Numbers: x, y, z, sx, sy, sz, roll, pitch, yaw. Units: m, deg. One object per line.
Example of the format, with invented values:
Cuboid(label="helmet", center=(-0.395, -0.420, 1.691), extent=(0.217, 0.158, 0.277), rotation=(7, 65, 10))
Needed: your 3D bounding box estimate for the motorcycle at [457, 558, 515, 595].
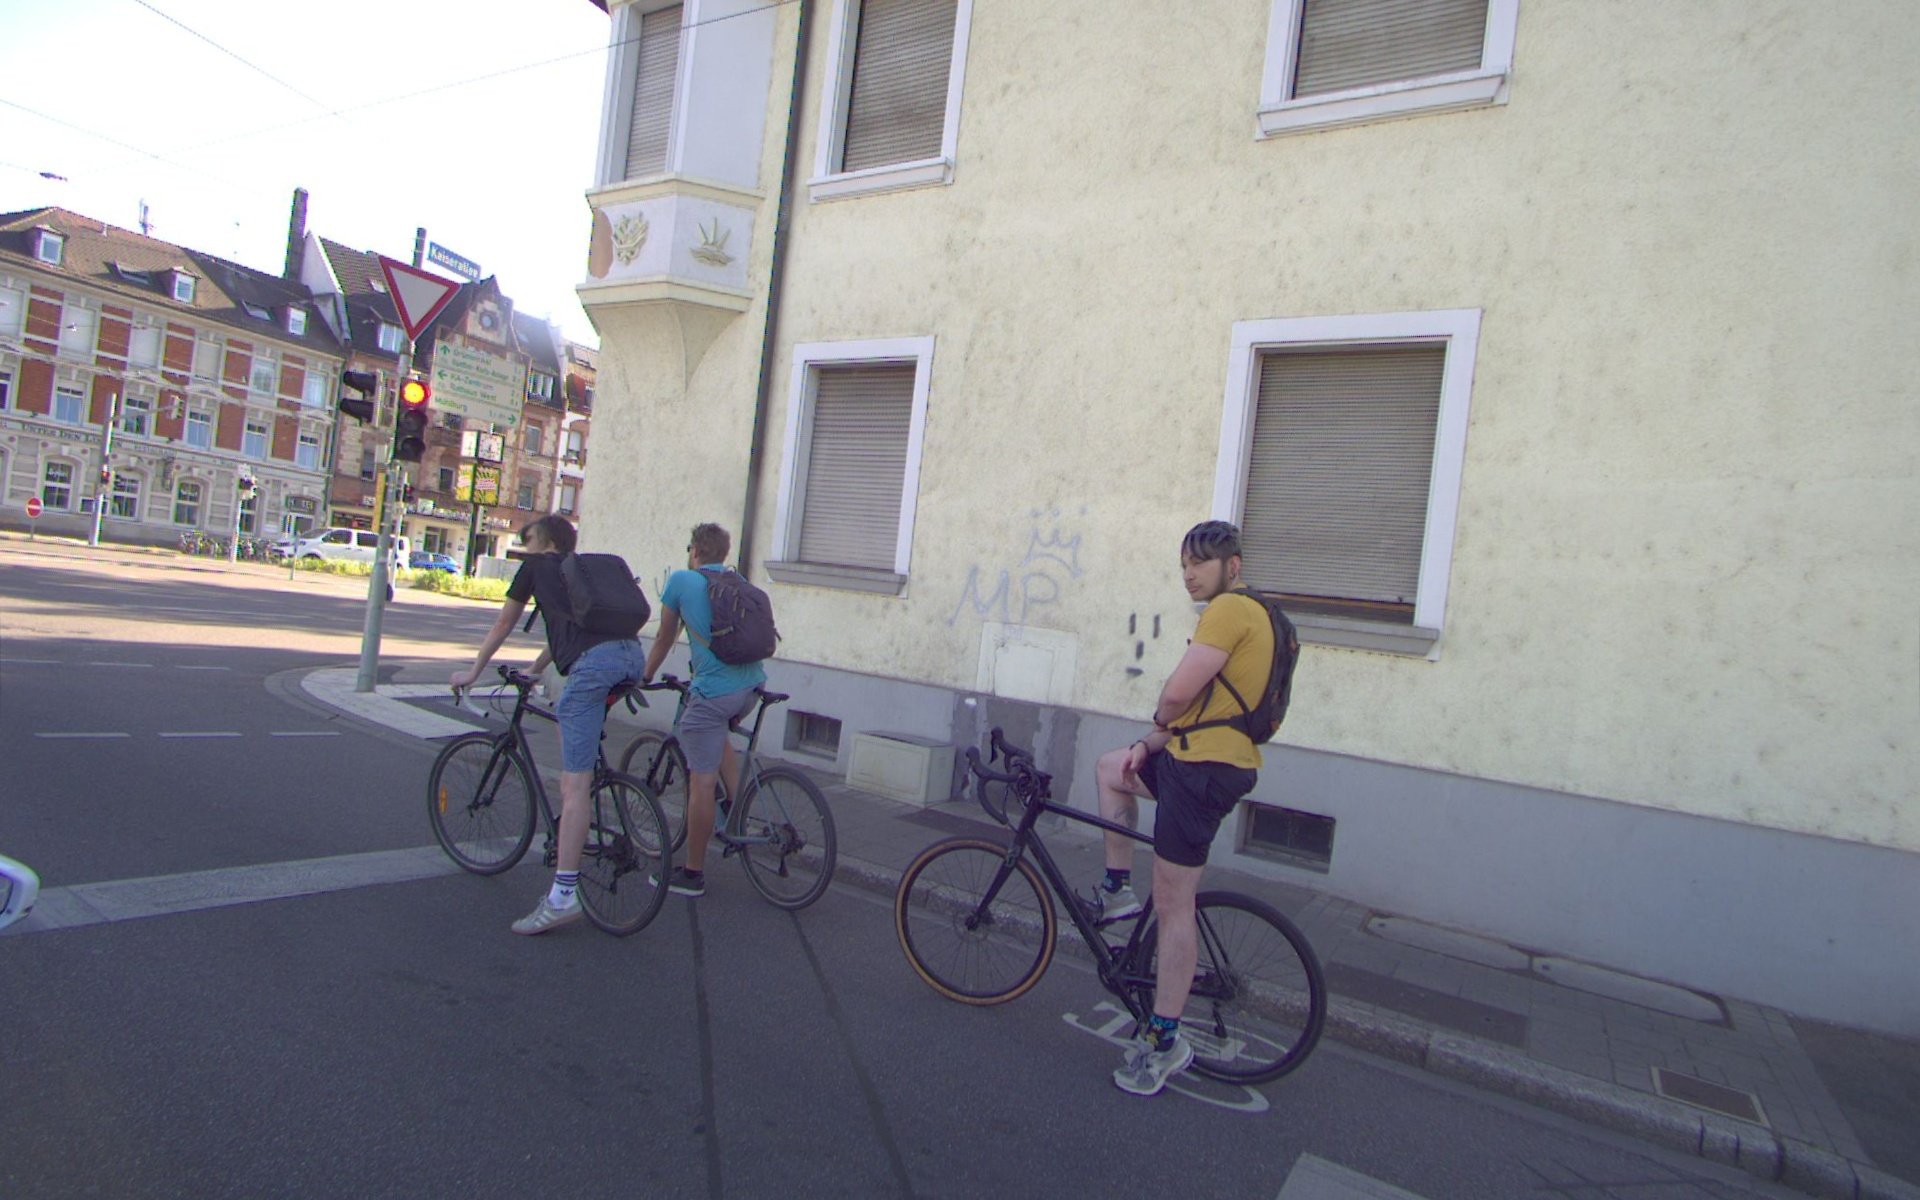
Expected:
Cuboid(label="motorcycle", center=(-21.669, -1.059, 46.033), extent=(0.785, 1.349, 2.134), rotation=(6, -2, 40))

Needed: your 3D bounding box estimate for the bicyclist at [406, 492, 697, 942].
Cuboid(label="bicyclist", center=(-1.840, 0.471, 4.540), extent=(0.920, 1.787, 0.590), rotation=(6, -1, 32))

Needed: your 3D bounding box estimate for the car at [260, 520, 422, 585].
Cuboid(label="car", center=(-25.176, -1.882, 41.149), extent=(1.967, 1.876, 5.209), rotation=(7, -1, 31))

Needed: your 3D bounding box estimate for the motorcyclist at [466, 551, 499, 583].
Cuboid(label="motorcyclist", center=(-21.772, -1.495, 45.857), extent=(0.778, 1.315, 1.014), rotation=(6, -2, 40))

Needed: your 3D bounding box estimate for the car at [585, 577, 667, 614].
Cuboid(label="car", center=(-17.684, -0.223, 53.403), extent=(1.569, 1.443, 3.876), rotation=(7, -1, 32))

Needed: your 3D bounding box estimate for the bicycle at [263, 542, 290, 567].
Cuboid(label="bicycle", center=(-33.031, -2.202, 48.585), extent=(0.789, 1.027, 2.186), rotation=(8, -2, -39))

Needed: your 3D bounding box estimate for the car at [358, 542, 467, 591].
Cuboid(label="car", center=(-25.437, -1.545, 46.881), extent=(1.775, 1.641, 3.994), rotation=(6, -2, 33))

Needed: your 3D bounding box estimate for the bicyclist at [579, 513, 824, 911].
Cuboid(label="bicyclist", center=(-1.358, 0.534, 5.272), extent=(0.960, 1.868, 0.504), rotation=(6, -1, 32))

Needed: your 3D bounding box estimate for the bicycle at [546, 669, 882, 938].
Cuboid(label="bicycle", center=(-1.317, 0.974, 5.211), extent=(1.753, 0.995, 0.504), rotation=(6, -1, 32))

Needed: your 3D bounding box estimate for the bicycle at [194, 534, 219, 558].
Cuboid(label="bicycle", center=(-34.757, -2.505, 46.392), extent=(0.762, 0.979, 2.186), rotation=(8, -2, -39))

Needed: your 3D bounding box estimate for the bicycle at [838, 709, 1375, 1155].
Cuboid(label="bicycle", center=(0.548, 1.114, 3.808), extent=(1.709, 1.119, 0.783), rotation=(7, -1, 18))

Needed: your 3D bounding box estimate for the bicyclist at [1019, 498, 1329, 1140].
Cuboid(label="bicyclist", center=(0.805, 0.712, 3.693), extent=(0.763, 1.990, 0.783), rotation=(7, 0, 18))

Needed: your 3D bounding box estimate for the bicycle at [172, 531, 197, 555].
Cuboid(label="bicycle", center=(-35.359, -2.606, 45.867), extent=(0.762, 0.974, 2.186), rotation=(8, -2, -39))

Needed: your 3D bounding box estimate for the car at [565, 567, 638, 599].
Cuboid(label="car", center=(-23.163, -1.090, 65.109), extent=(1.842, 1.454, 3.985), rotation=(6, -2, 35))

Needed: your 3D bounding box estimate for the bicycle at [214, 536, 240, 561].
Cuboid(label="bicycle", center=(-34.261, -2.414, 47.014), extent=(0.762, 0.995, 2.186), rotation=(8, -2, -39))

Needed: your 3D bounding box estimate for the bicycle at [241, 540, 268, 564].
Cuboid(label="bicycle", center=(-33.629, -2.307, 47.938), extent=(0.762, 1.019, 2.196), rotation=(8, -2, -39))

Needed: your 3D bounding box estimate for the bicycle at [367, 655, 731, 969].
Cuboid(label="bicycle", center=(-1.901, 0.865, 4.544), extent=(1.753, 1.003, 0.482), rotation=(6, -1, 32))
